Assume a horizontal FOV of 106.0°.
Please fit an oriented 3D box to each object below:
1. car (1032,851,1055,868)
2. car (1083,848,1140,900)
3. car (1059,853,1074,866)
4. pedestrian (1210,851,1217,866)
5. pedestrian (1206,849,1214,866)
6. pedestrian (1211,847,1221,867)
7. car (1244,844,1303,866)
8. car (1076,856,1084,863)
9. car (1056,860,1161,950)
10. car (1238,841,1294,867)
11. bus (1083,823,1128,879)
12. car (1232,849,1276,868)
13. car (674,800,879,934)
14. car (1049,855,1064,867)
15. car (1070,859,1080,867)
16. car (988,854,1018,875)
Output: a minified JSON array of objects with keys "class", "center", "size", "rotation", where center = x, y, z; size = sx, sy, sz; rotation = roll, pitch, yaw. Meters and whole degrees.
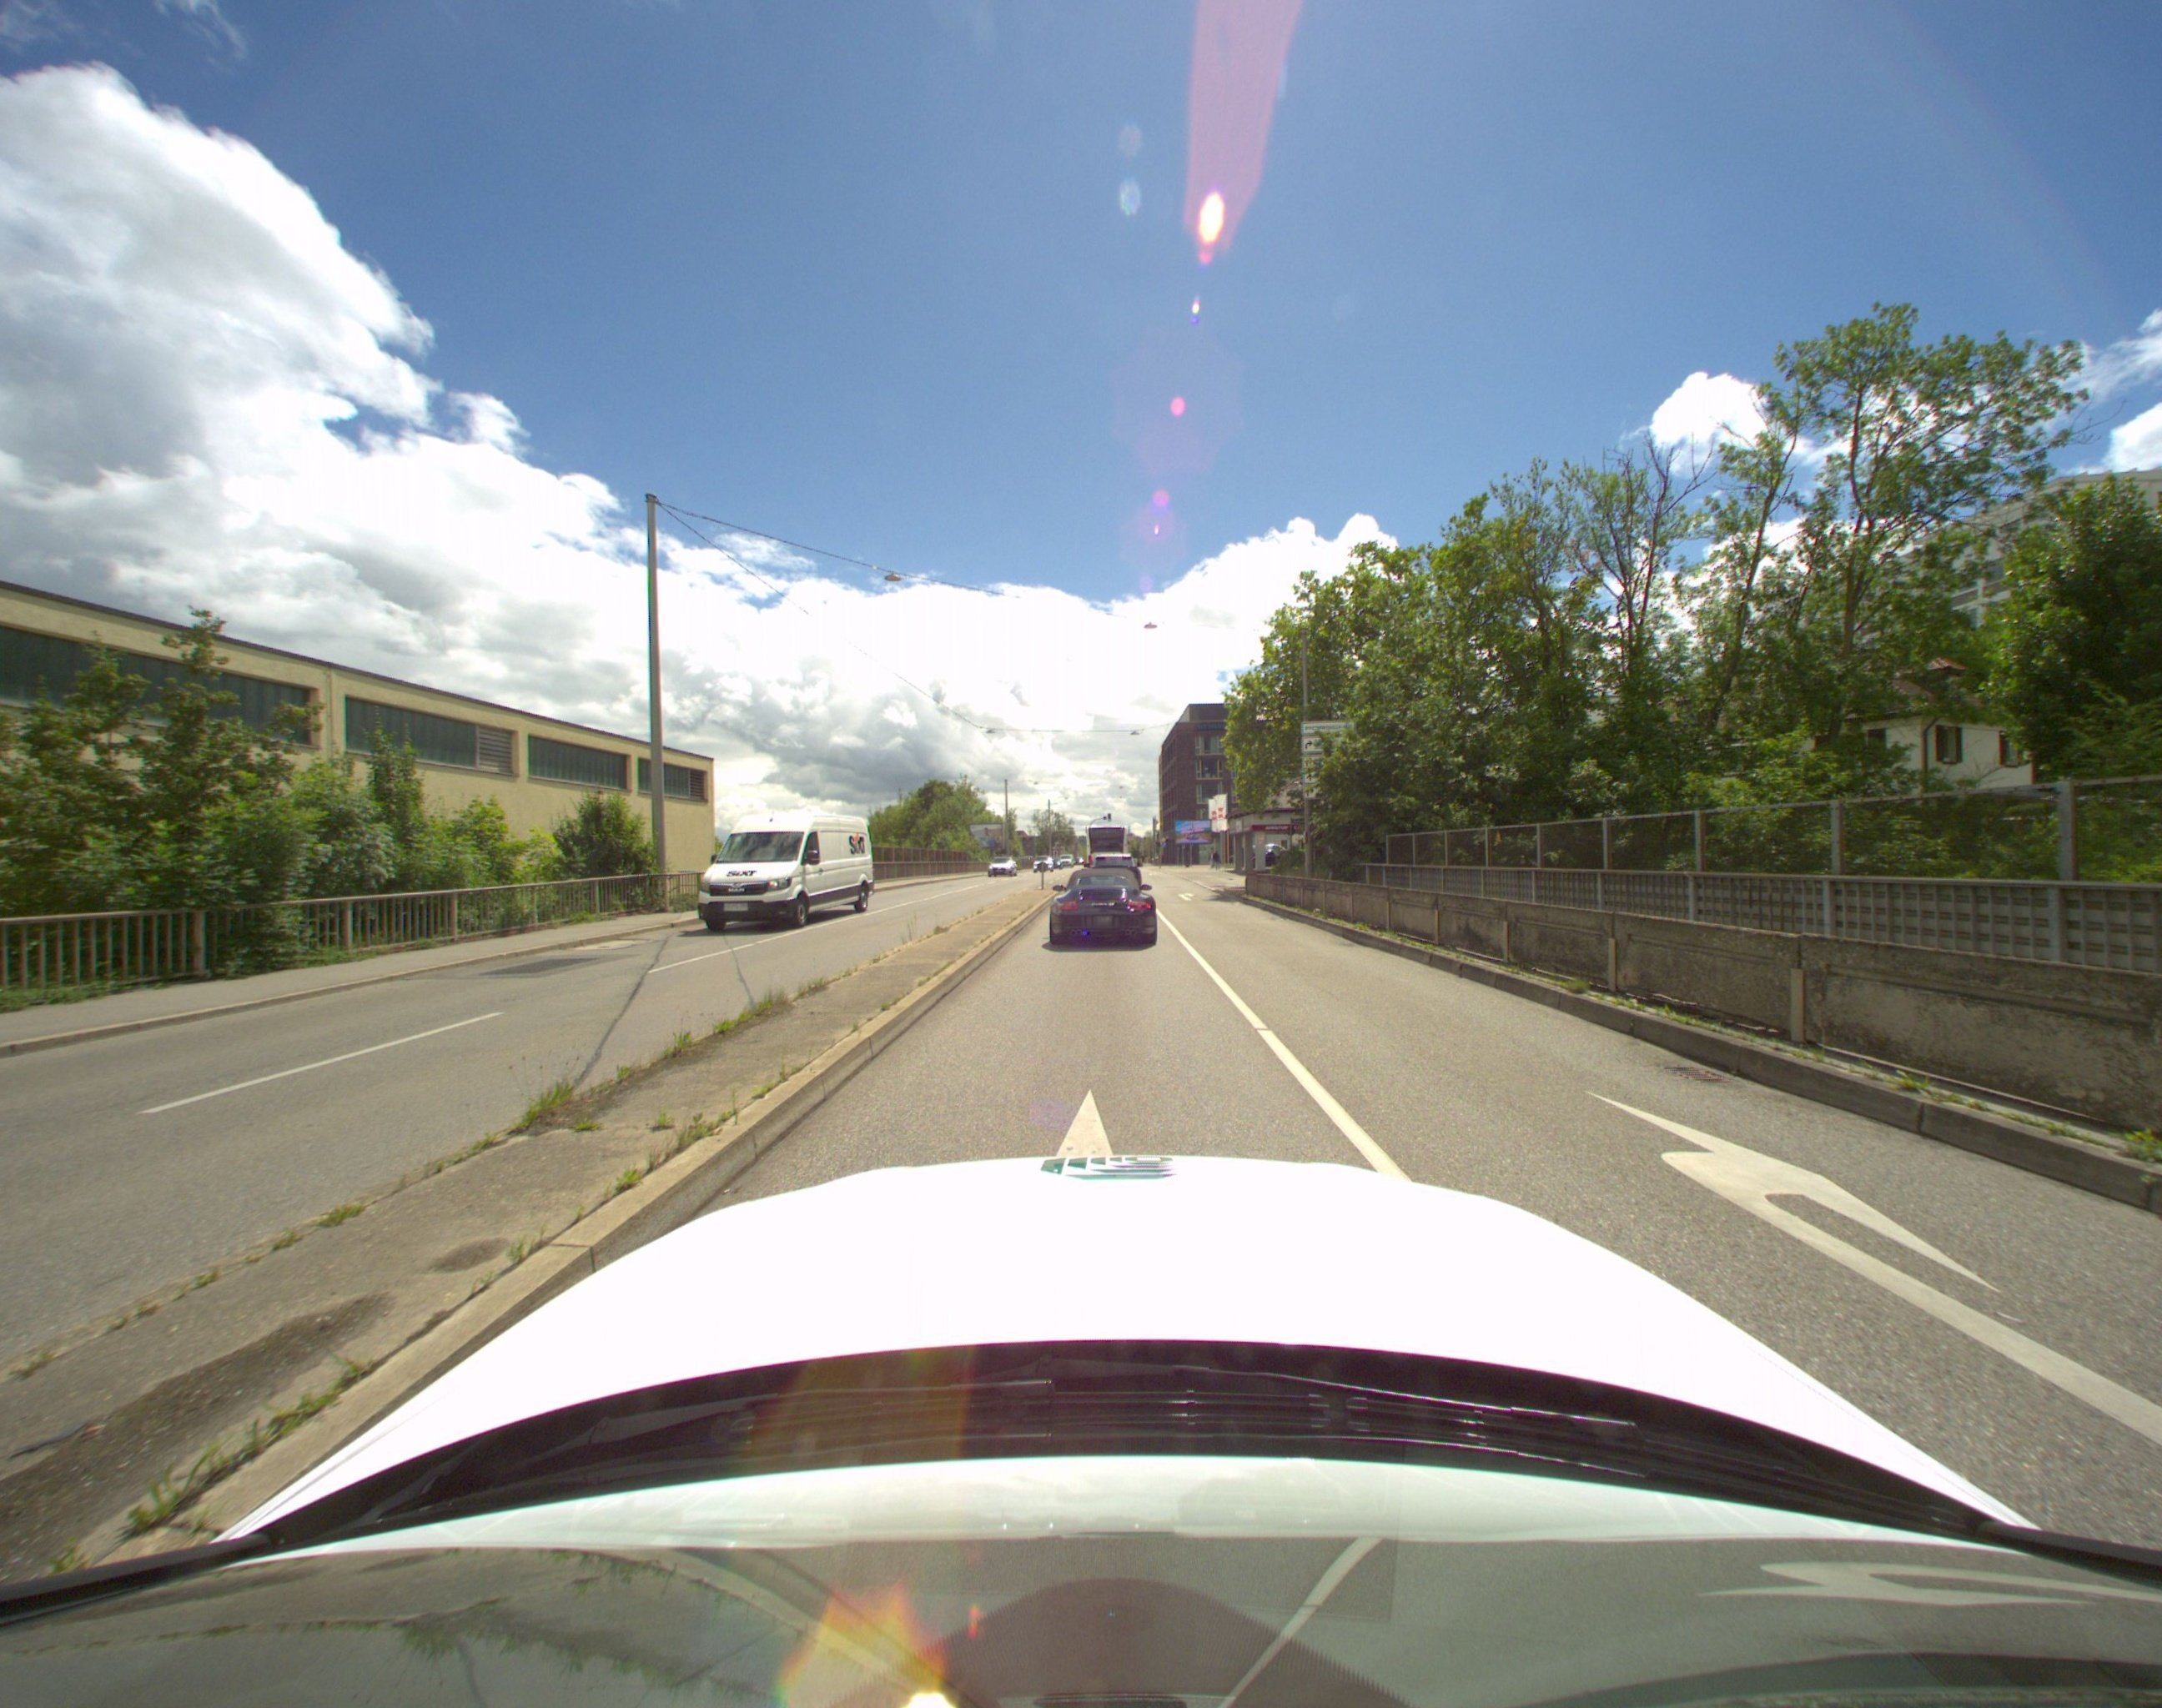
[{"class":"car","center":[-3.459,0.522,75.726],"size":[1.803,1.560,4.208],"rotation":[0,0,1]},{"class":"car","center":[1.039,0.641,28.628],"size":[1.873,1.594,4.231],"rotation":[0,2,1]},{"class":"car","center":[-2.108,0.859,123.009],"size":[1.894,1.887,5.315],"rotation":[-3,0,2]},{"class":"pedestrian","center":[14.408,0.495,88.624],"size":[0.668,1.661,0.742],"rotation":[-1,-1,0]},{"class":"pedestrian","center":[13.290,0.329,83.931],"size":[0.705,1.696,0.924],"rotation":[-1,0,-1]},{"class":"pedestrian","center":[11.741,0.247,70.571],"size":[0.673,1.696,0.602],"rotation":[-1,0,27]},{"class":"car","center":[15.500,0.116,65.696],"size":[4.283,1.513,1.847],"rotation":[-4,-1,2]},{"class":"car","center":[-0.190,1.182,171.362],"size":[1.656,1.547,3.805],"rotation":[-1,0,2]},{"class":"car","center":[0.448,0.846,15.268],"size":[1.714,1.275,4.088],"rotation":[0,2,0]},{"class":"car","center":[15.573,0.009,68.699],"size":[4.213,1.936,2.031],"rotation":[-3,-1,2]},{"class":"bus","center":[1.801,-0.408,55.873],"size":[2.678,3.254,12.070],"rotation":[1,3,3]},{"class":"car","center":[16.223,0.435,76.569],"size":[3.744,1.440,1.720],"rotation":[-5,-1,2]},{"class":"car","center":[-6.893,0.234,19.556],"size":[2.059,2.571,6.824],"rotation":[-2,0,2]},{"class":"car","center":[-3.040,0.917,103.460],"size":[1.622,1.430,4.002],"rotation":[-1,0,2]},{"class":"car","center":[-1.094,1.691,153.547],"size":[1.656,1.416,3.805],"rotation":[-1,0,2]},{"class":"car","center":[-5.675,0.742,59.419],"size":[1.631,1.363,4.196],"rotation":[-1,0,2]}]
